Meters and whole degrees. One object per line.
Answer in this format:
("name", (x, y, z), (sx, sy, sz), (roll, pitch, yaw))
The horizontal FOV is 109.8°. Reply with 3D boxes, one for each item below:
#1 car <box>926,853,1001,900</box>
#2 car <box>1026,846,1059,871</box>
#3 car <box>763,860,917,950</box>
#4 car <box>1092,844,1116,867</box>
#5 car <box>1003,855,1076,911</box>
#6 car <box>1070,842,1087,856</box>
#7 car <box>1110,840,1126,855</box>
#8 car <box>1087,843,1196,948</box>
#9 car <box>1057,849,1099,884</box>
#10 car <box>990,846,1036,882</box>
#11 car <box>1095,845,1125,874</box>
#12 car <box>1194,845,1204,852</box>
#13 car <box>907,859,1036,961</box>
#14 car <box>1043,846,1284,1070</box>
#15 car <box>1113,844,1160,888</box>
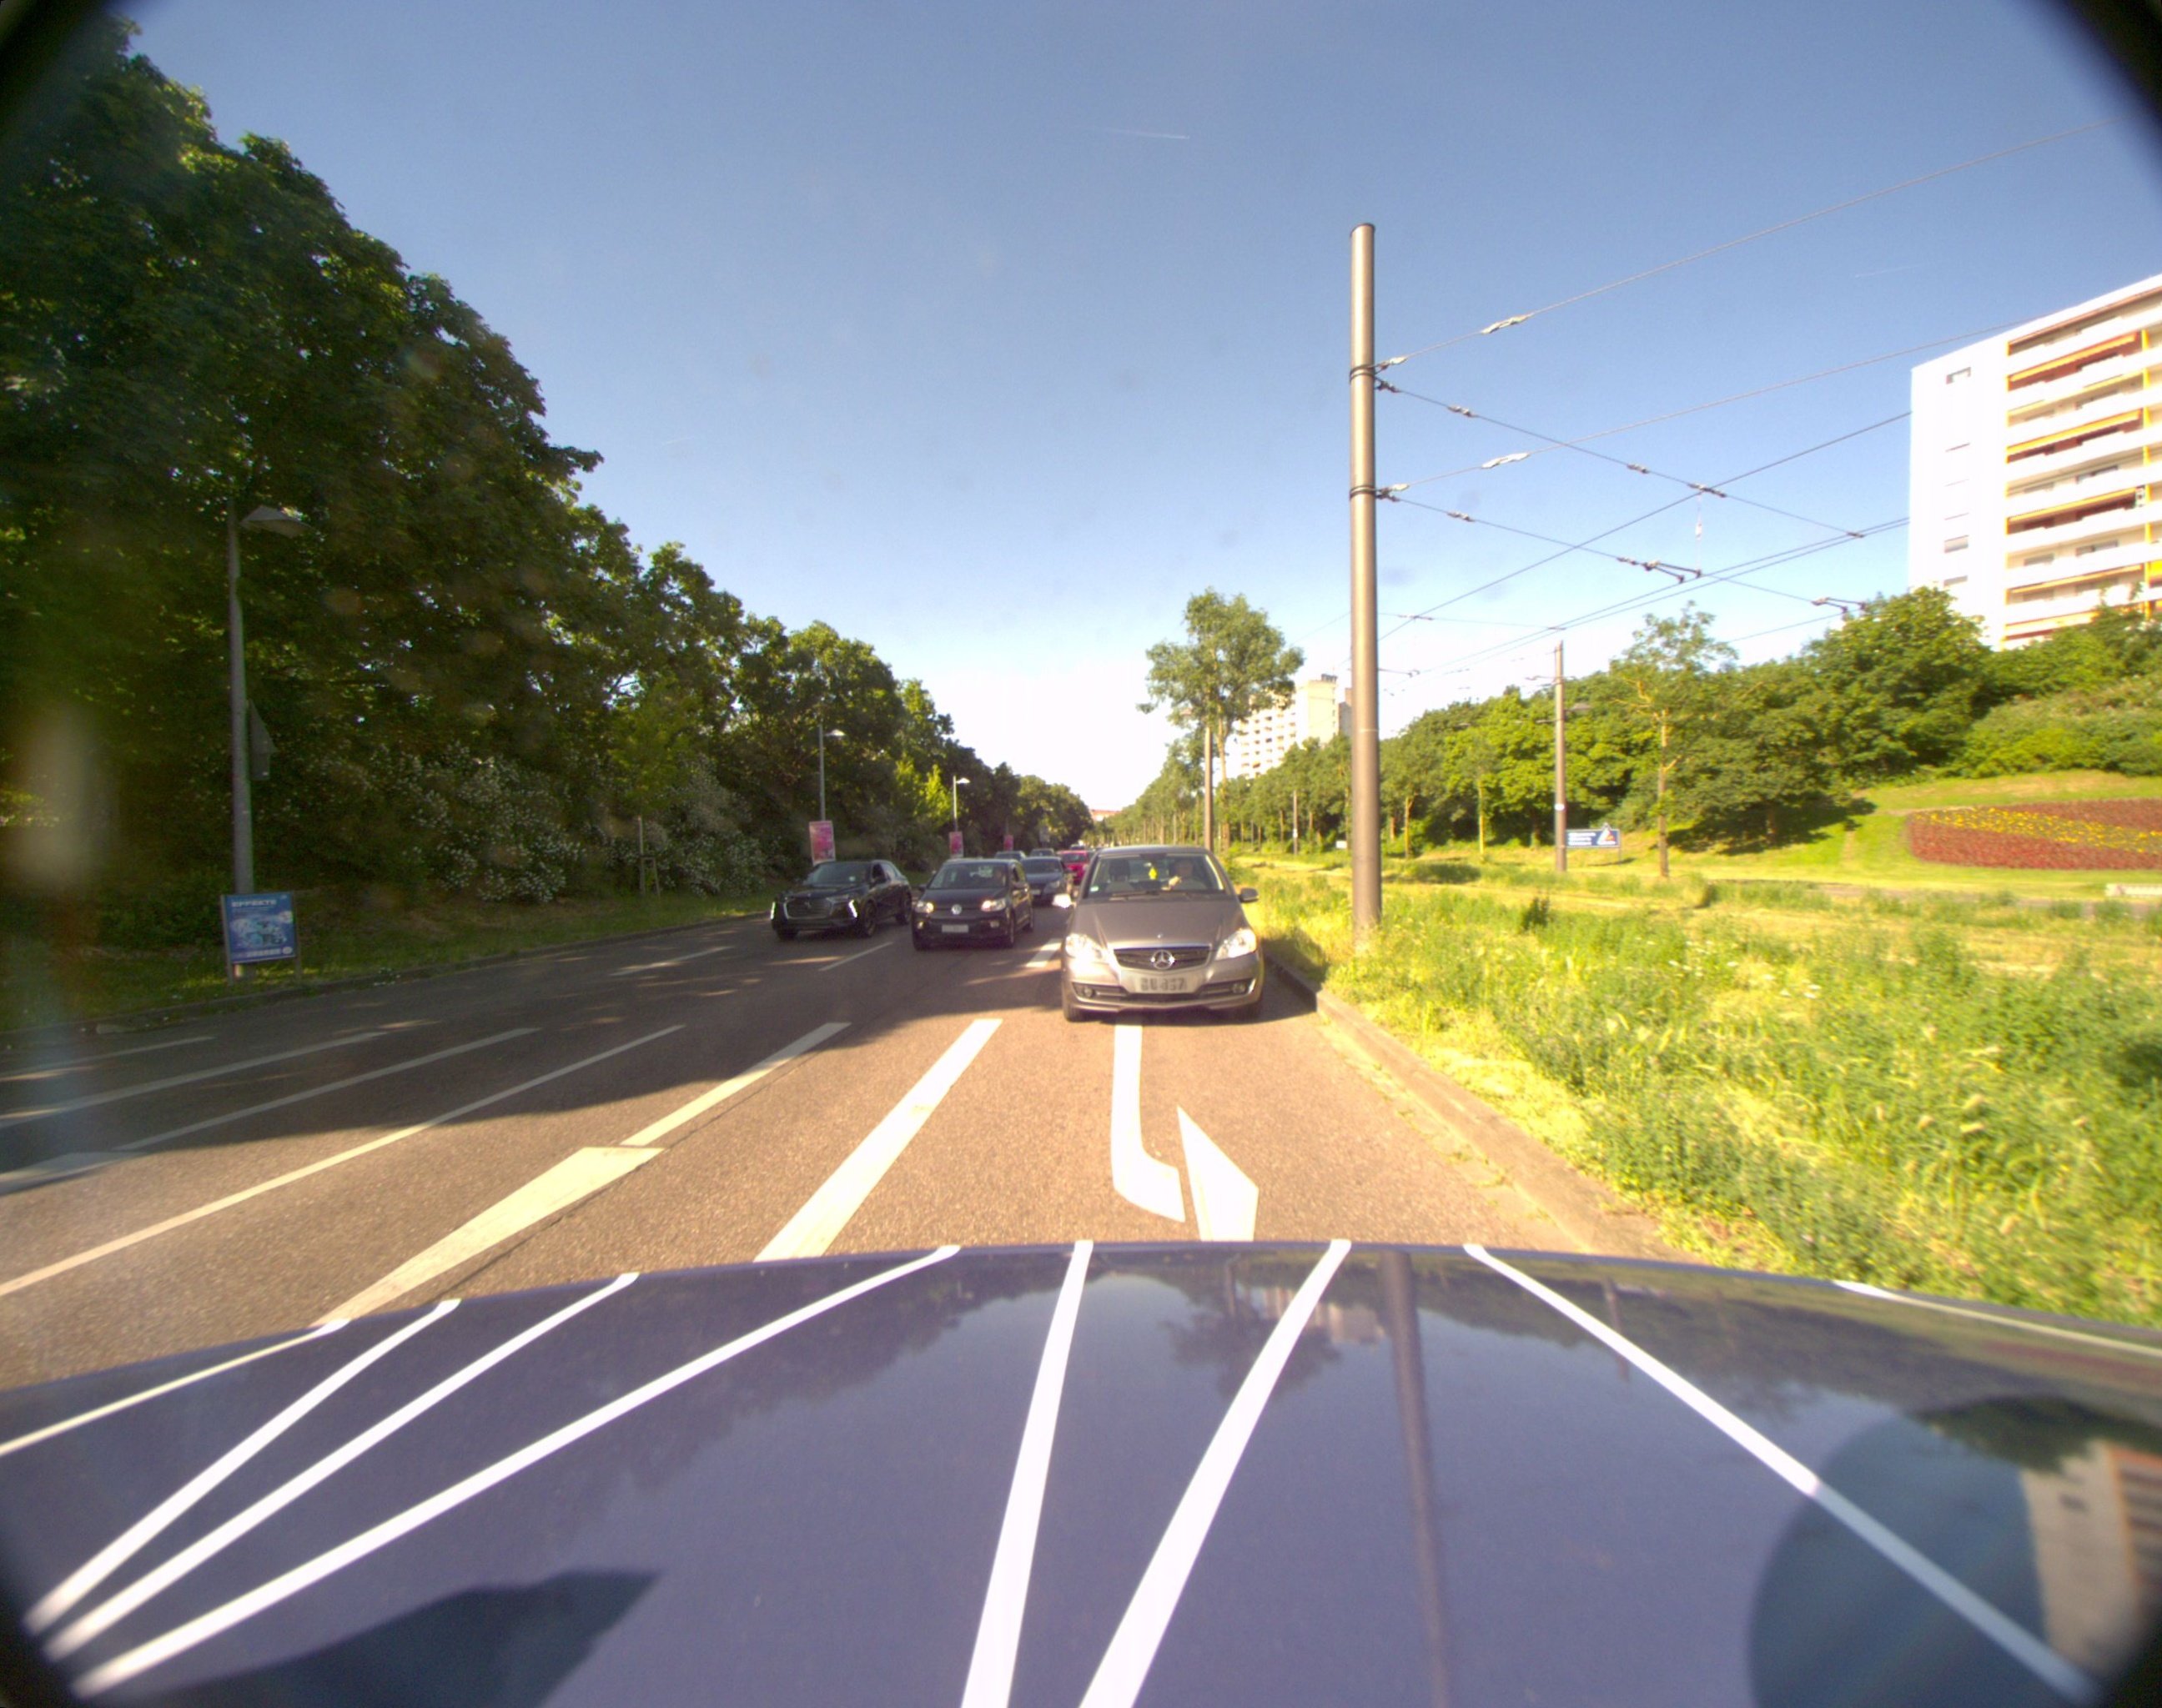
("car", (-4.126, 0.749, 27.357), (1.748, 1.428, 4.386), (-2, 1, 3))
("car", (-2.429, 0.277, 49.107), (1.713, 1.485, 3.963), (-2, 1, 3))
("car", (-4.808, 0.947, 15.768), (1.713, 1.485, 3.963), (-2, 1, 3))
("car", (1.876, 0.089, 60.899), (1.748, 1.652, 4.000), (-2, 1, 2))
("car", (-1.140, 0.788, 22.816), (1.713, 1.430, 4.171), (-2, 1, 3))
("car", (-0.265, -0.560, 83.900), (1.713, 1.485, 3.963), (-2, 1, 3))
("car", (4.095, -0.750, 84.183), (1.630, 1.556, 3.812), (-2, 1, 2))
("car", (1.083, 0.669, 14.605), (1.748, 1.652, 4.000), (-2, 1, 2))
("car", (-0.084, 0.546, 35.623), (1.685, 1.437, 3.727), (-2, 1, 4))
("car", (-3.301, 0.468, 37.528), (1.748, 1.652, 4.000), (-1, 1, 2))
("car", (1.840, 0.330, 47.693), (1.748, 1.652, 4.000), (-2, 1, 2))
("car", (23.910, -1.107, 153.874), (1.577, 1.412, 3.910), (-2, 0, 3))
("car", (-1.801, 0.883, 13.466), (1.621, 1.485, 3.453), (-2, 1, 2))
("car", (0.704, 0.770, 7.726), (1.748, 1.631, 4.000), (-2, 1, 2))
("car", (2.206, 0.437, 30.943), (1.748, 1.652, 4.000), (-1, 1, 2))
